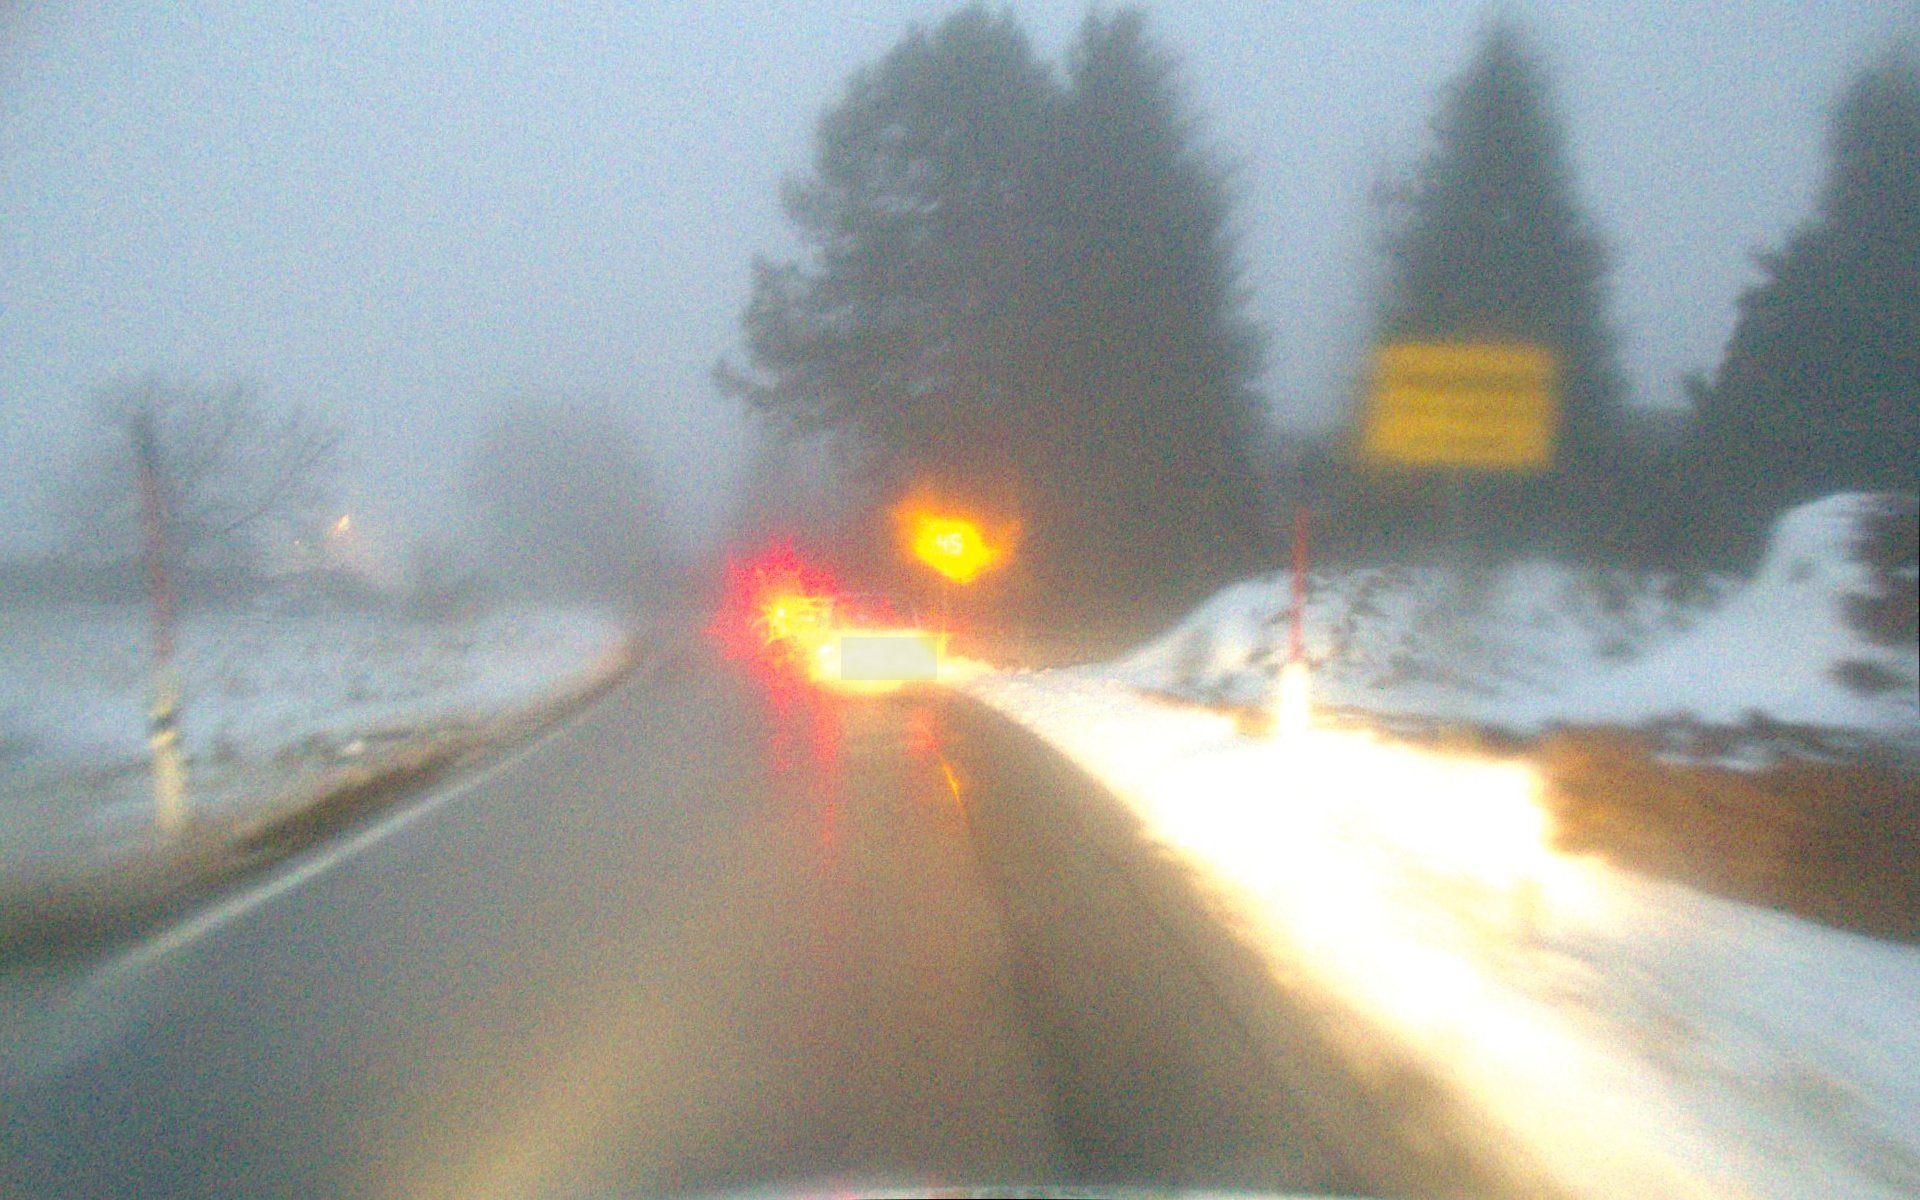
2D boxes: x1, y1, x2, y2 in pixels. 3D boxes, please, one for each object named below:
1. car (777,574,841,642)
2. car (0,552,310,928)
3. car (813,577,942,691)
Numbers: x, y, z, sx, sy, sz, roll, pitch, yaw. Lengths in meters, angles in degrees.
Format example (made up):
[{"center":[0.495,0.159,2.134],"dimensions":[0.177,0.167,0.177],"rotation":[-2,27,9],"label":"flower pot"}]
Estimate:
[{"center":[-3.572,0.171,39.016],"dimensions":[1.450,1.534,3.049],"rotation":[0,0,-6],"label":"car"},{"center":[-4.608,0.586,8.170],"dimensions":[1.491,1.534,3.053],"rotation":[0,-1,2],"label":"car"},{"center":[-1.253,0.501,23.634],"dimensions":[1.674,1.489,3.995],"rotation":[0,-2,-5],"label":"car"}]
